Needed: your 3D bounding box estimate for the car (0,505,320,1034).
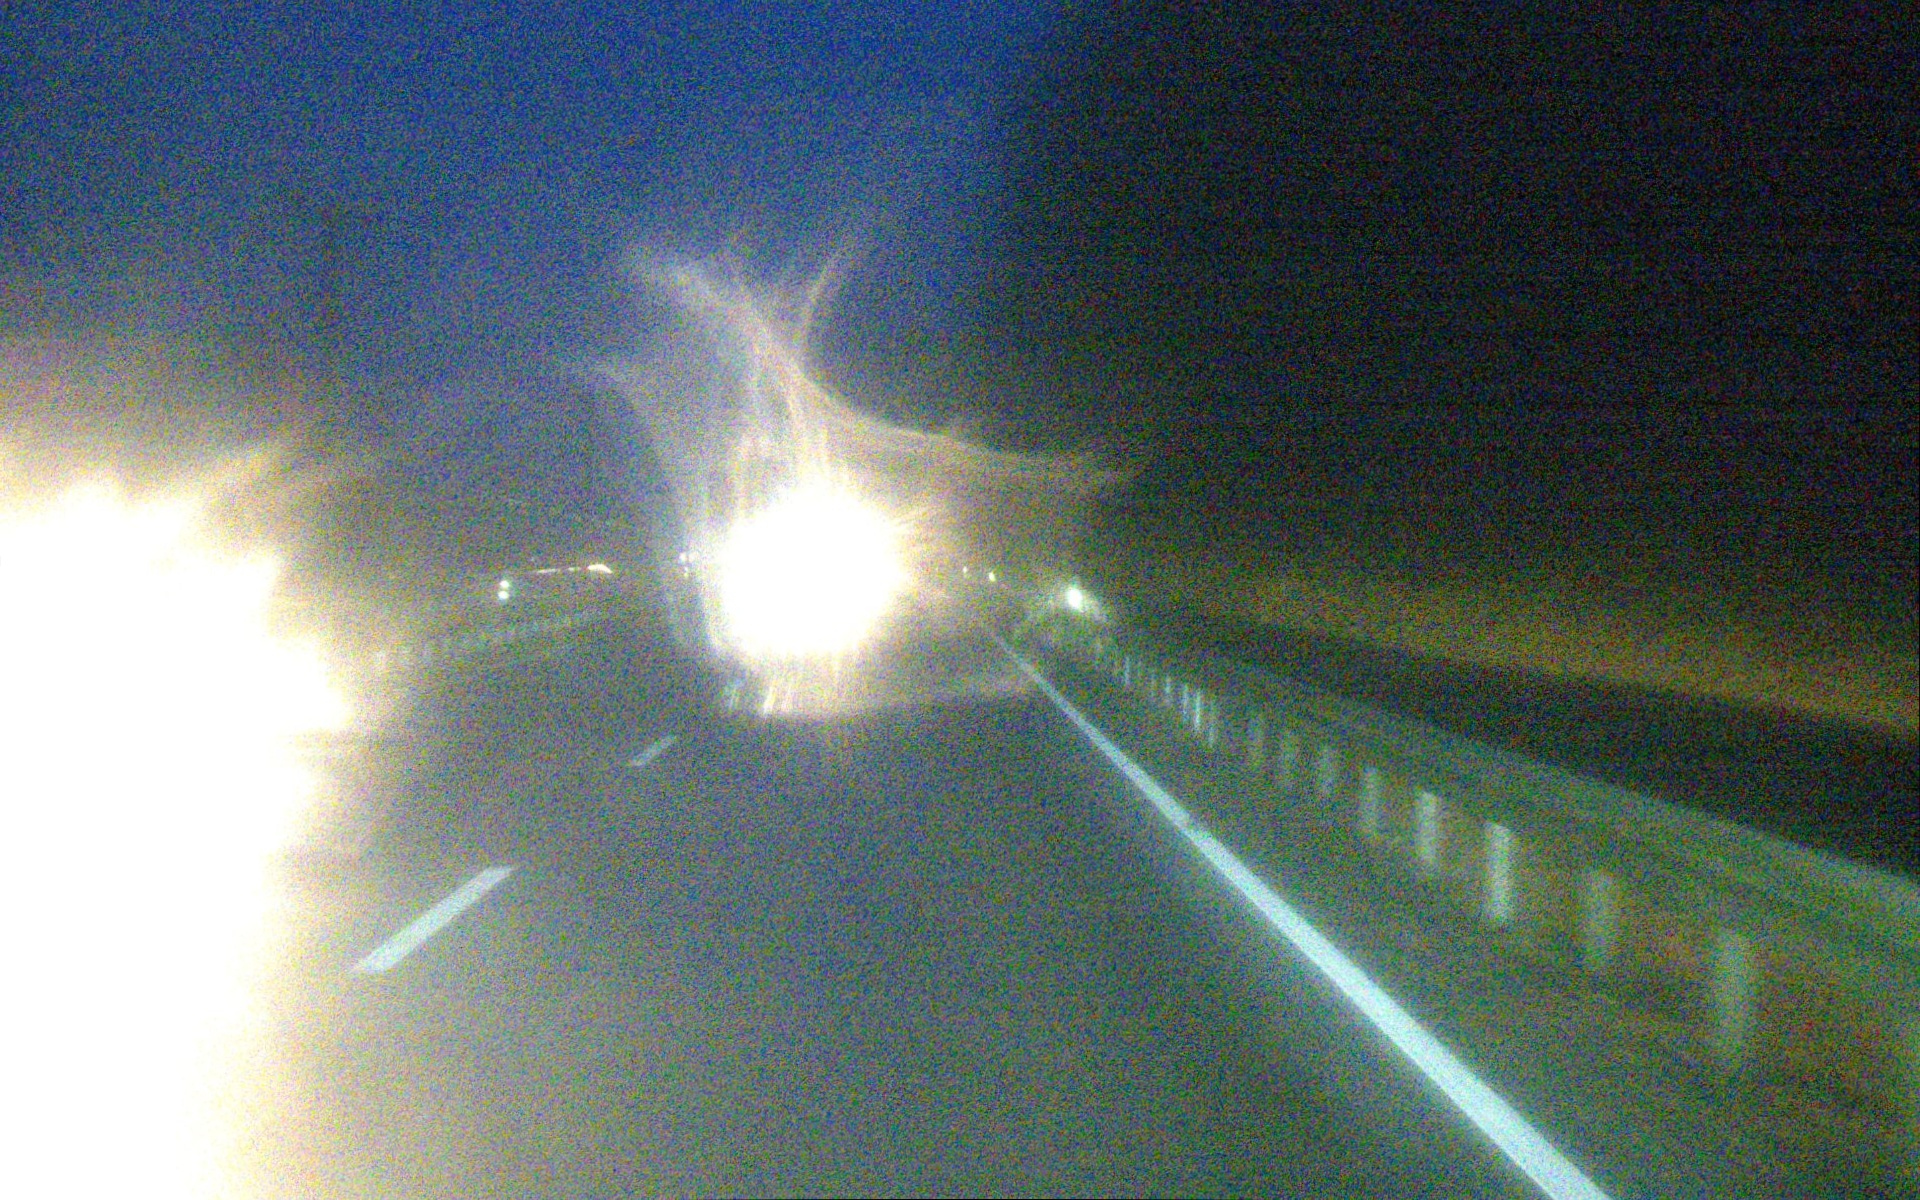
[{"bbox_3d":[-3.617,0.474,12.311,1.834,1.539,4.646,1,0,-1],"label":"car"}]
